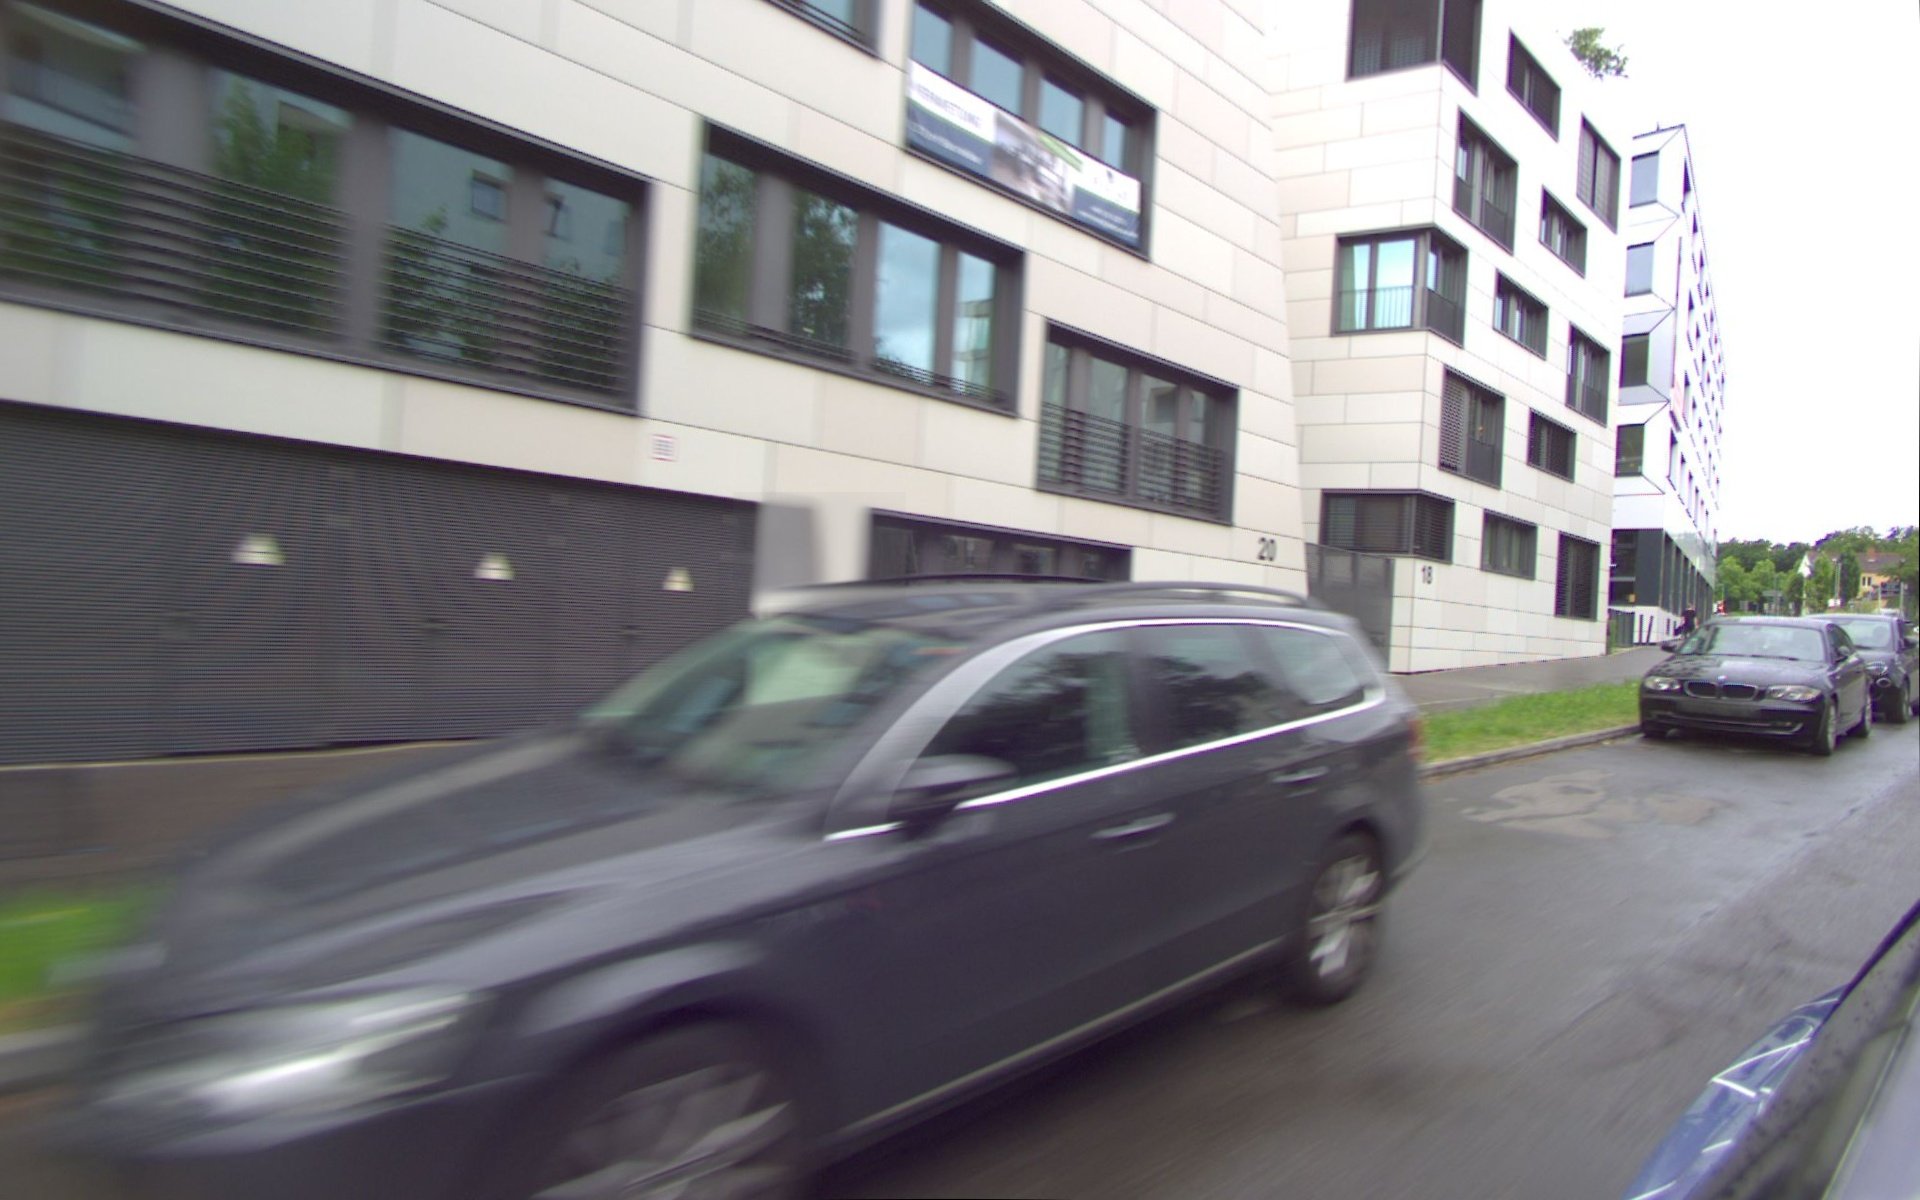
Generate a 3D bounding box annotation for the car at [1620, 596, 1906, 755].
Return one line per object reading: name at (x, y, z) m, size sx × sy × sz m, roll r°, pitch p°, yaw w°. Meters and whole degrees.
car at (9.551, 0.741, 11.905) m, size 4.415 × 1.503 × 1.811 m, roll 1°, pitch 1°, yaw -40°

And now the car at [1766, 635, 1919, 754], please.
car at (13.561, 1.332, 15.194) m, size 3.594 × 1.497 × 1.550 m, roll 2°, pitch 0°, yaw -39°

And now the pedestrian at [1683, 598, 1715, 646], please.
pedestrian at (29.371, 0.859, 40.207) m, size 0.823 × 1.818 × 1.189 m, roll 3°, pitch 2°, yaw 44°

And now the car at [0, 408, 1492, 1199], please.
car at (-0.199, 0.543, 3.338) m, size 4.760 × 1.583 × 1.811 m, roll 1°, pitch 1°, yaw -40°

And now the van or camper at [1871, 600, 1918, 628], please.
van or camper at (99.803, 1.463, 108.137) m, size 2.328 × 2.800 × 6.077 m, roll 1°, pitch 0°, yaw 30°
